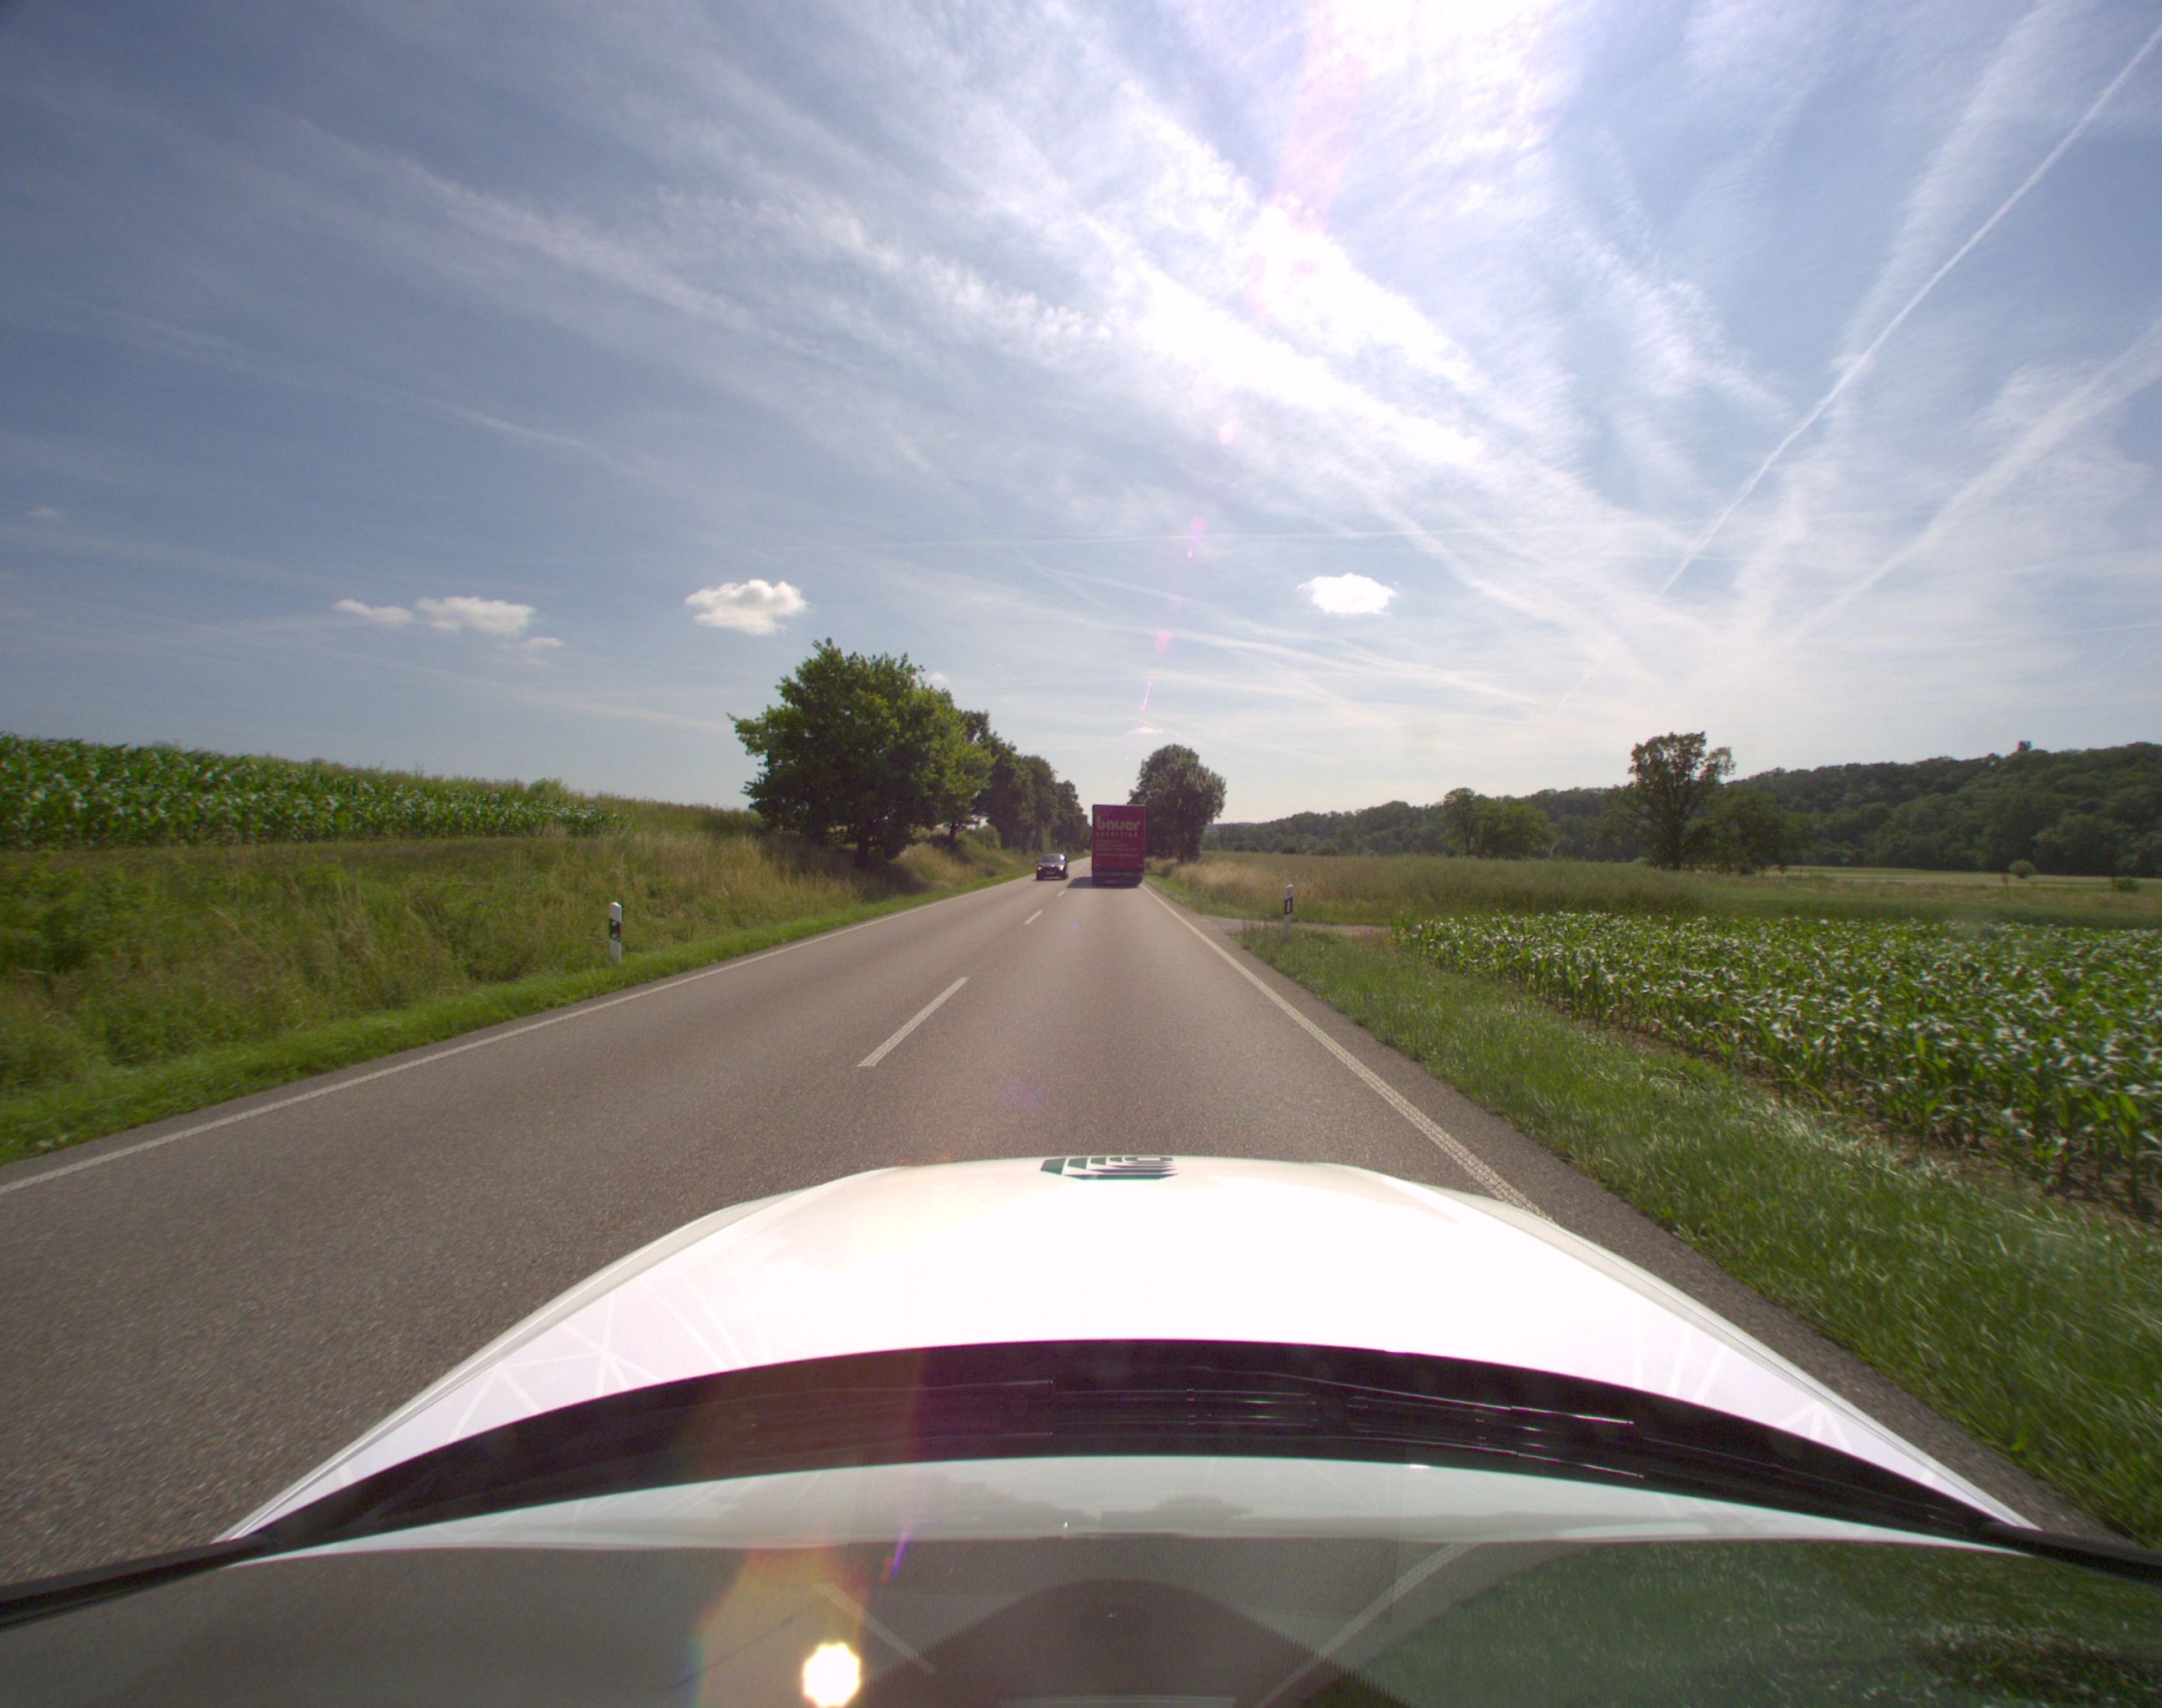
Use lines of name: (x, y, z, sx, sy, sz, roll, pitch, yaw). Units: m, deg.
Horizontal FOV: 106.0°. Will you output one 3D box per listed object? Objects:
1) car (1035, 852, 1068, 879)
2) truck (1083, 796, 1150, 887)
car: (-1.713, 0.680, 49.087, 1.650, 1.534, 4.360, -1, 0, 2)
truck: (1.827, -0.542, 42.862, 3.083, 4.263, 8.317, -2, -1, 2)
